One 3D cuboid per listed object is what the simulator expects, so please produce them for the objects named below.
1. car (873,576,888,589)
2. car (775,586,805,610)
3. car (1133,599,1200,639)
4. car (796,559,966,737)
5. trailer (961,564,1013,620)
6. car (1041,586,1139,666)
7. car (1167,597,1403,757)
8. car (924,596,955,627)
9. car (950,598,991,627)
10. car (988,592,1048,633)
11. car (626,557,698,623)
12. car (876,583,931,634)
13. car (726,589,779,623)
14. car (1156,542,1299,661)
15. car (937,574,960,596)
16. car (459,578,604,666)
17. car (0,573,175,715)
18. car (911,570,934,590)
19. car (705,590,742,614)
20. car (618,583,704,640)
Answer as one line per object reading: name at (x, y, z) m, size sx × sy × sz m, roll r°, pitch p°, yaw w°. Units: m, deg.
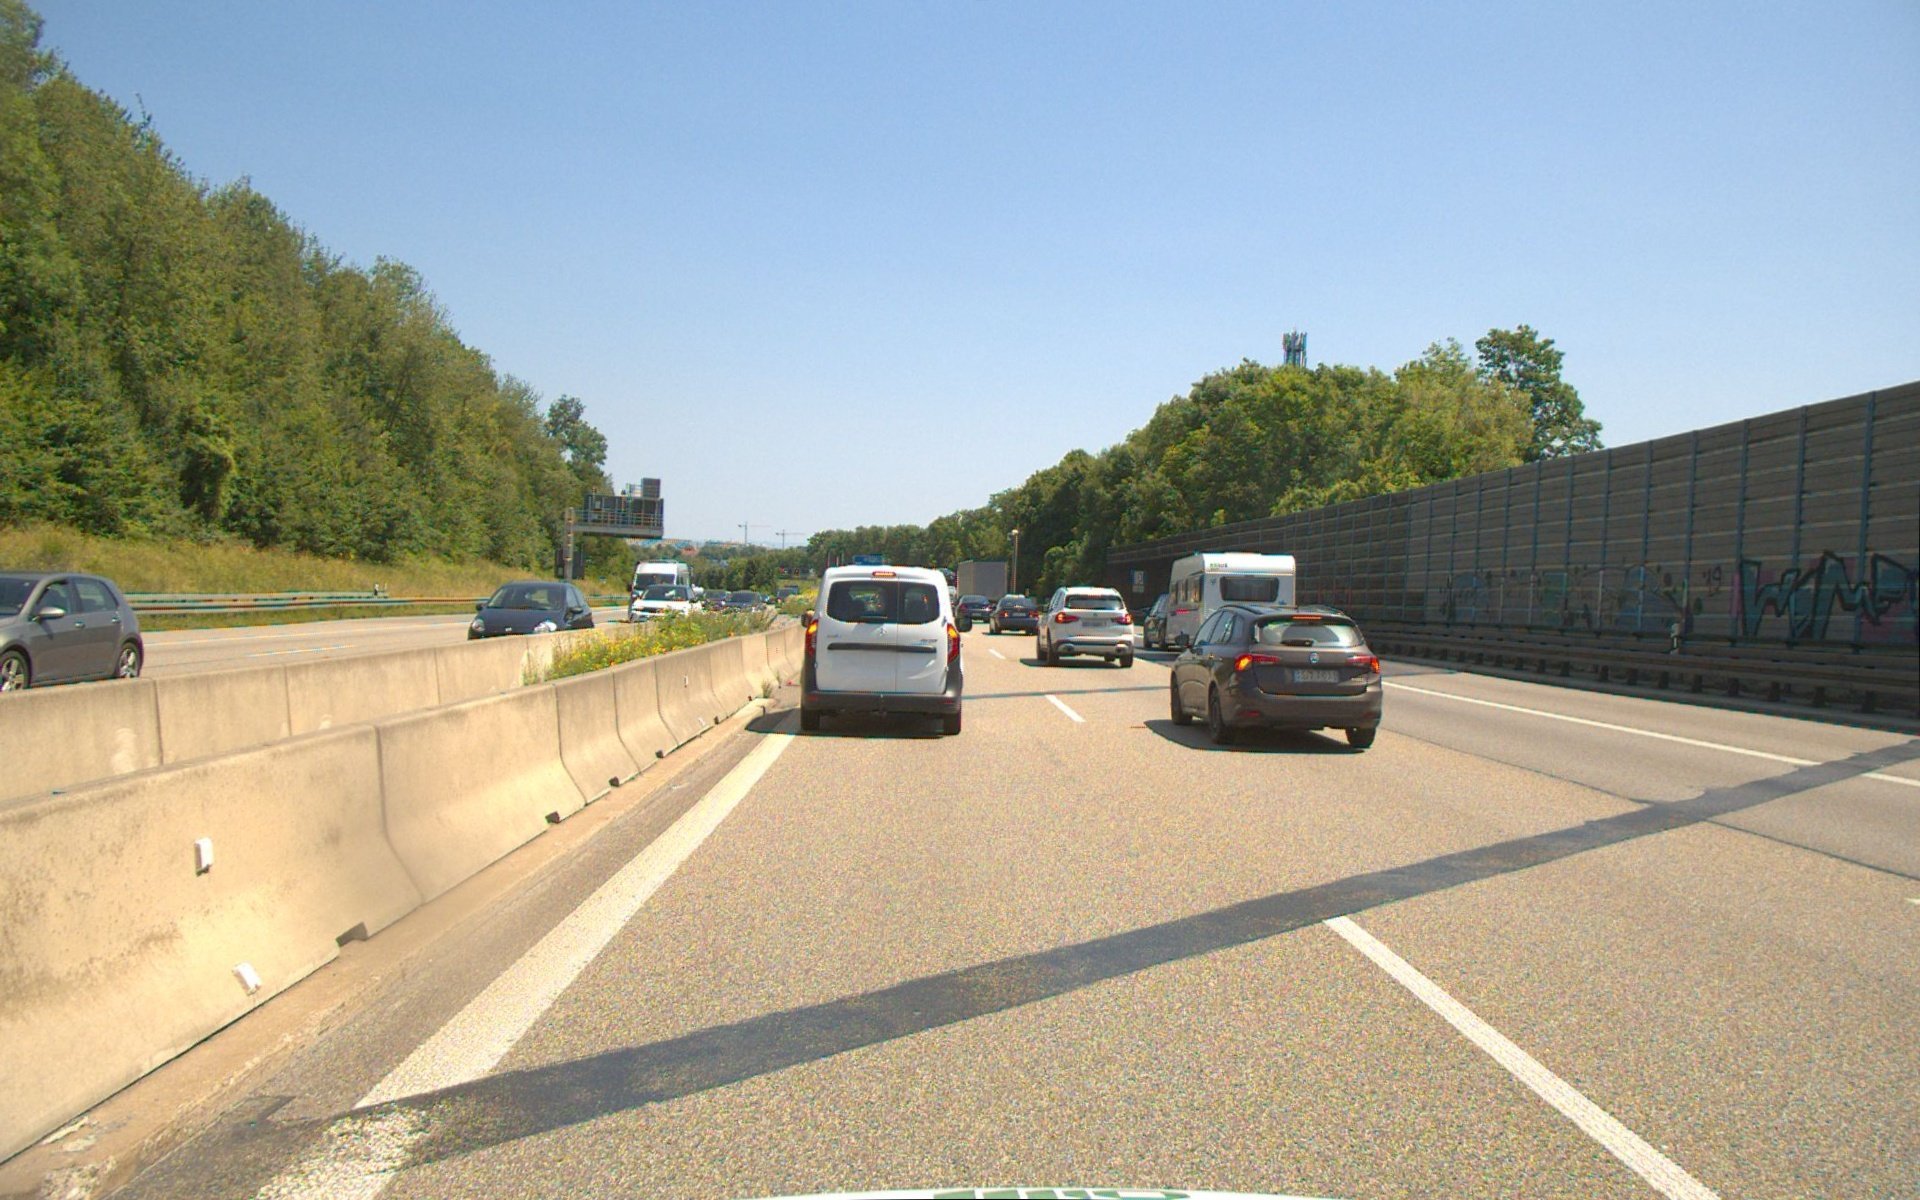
car at (-11.447, -2.495, 238.390) m, size 1.955 × 1.758 × 3.994 m, roll 1°, pitch 0°, yaw -7°
car at (-12.800, -0.142, 124.871) m, size 1.953 × 1.754 × 4.355 m, roll 1°, pitch 0°, yaw -2°
car at (7.708, 0.689, 62.119) m, size 1.788 × 1.449 × 3.997 m, roll 1°, pitch 0°, yaw -3°
car at (-0.826, 0.501, 19.363) m, size 1.765 × 1.839 × 4.000 m, roll 1°, pitch 0°, yaw 0°
trailer at (1.953, -0.586, 126.055) m, size 3.021 × 4.055 × 10.314 m, roll 1°, pitch 0°, yaw -4°
car at (2.833, 0.524, 36.777) m, size 1.833 × 1.636 × 3.879 m, roll 1°, pitch 0°, yaw 0°
car at (3.566, 0.778, 18.941) m, size 1.801 × 1.539 × 4.402 m, roll 1°, pitch 0°, yaw 0°
car at (-1.365, 0.726, 110.015) m, size 1.788 × 2.024 × 3.997 m, roll 0°, pitch 0°, yaw -4°
car at (0.526, 0.616, 85.255) m, size 1.788 × 1.449 × 3.996 m, roll 1°, pitch 0°, yaw -4°
car at (2.131, 0.462, 61.697) m, size 1.788 × 1.449 × 3.996 m, roll 1°, pitch 0°, yaw -4°
car at (-13.057, -0.431, 72.775) m, size 2.171 × 2.748 × 6.060 m, roll 1°, pitch 0°, yaw -2°
car at (-2.229, 0.335, 64.246) m, size 1.954 × 1.892 × 3.996 m, roll 1°, pitch 0°, yaw -4°
car at (-9.096, 0.244, 72.738) m, size 1.837 × 1.435 × 4.411 m, roll 1°, pitch 0°, yaw -2°
car at (6.740, 0.038, 42.515) m, size 2.429 × 2.814 × 6.217 m, roll 1°, pitch 0°, yaw -2°
car at (-1.125, -1.432, 157.847) m, size 1.954 × 2.049 × 3.997 m, roll 1°, pitch 0°, yaw -4°
car at (-7.609, 0.362, 29.685) m, size 1.631 × 1.453 × 3.856 m, roll 1°, pitch 0°, yaw -1°
car at (-10.721, 0.423, 18.581) m, size 1.805 × 1.445 × 4.233 m, roll 1°, pitch 0°, yaw -1°
car at (-3.936, -2.095, 174.688) m, size 1.956 × 2.049 × 3.993 m, roll 1°, pitch 0°, yaw -8°
car at (-14.475, 0.109, 101.263) m, size 1.777 × 1.426 × 4.270 m, roll 1°, pitch 0°, yaw -2°
car at (-8.666, 0.322, 48.243) m, size 1.767 × 1.553 × 4.256 m, roll 1°, pitch 0°, yaw -1°
